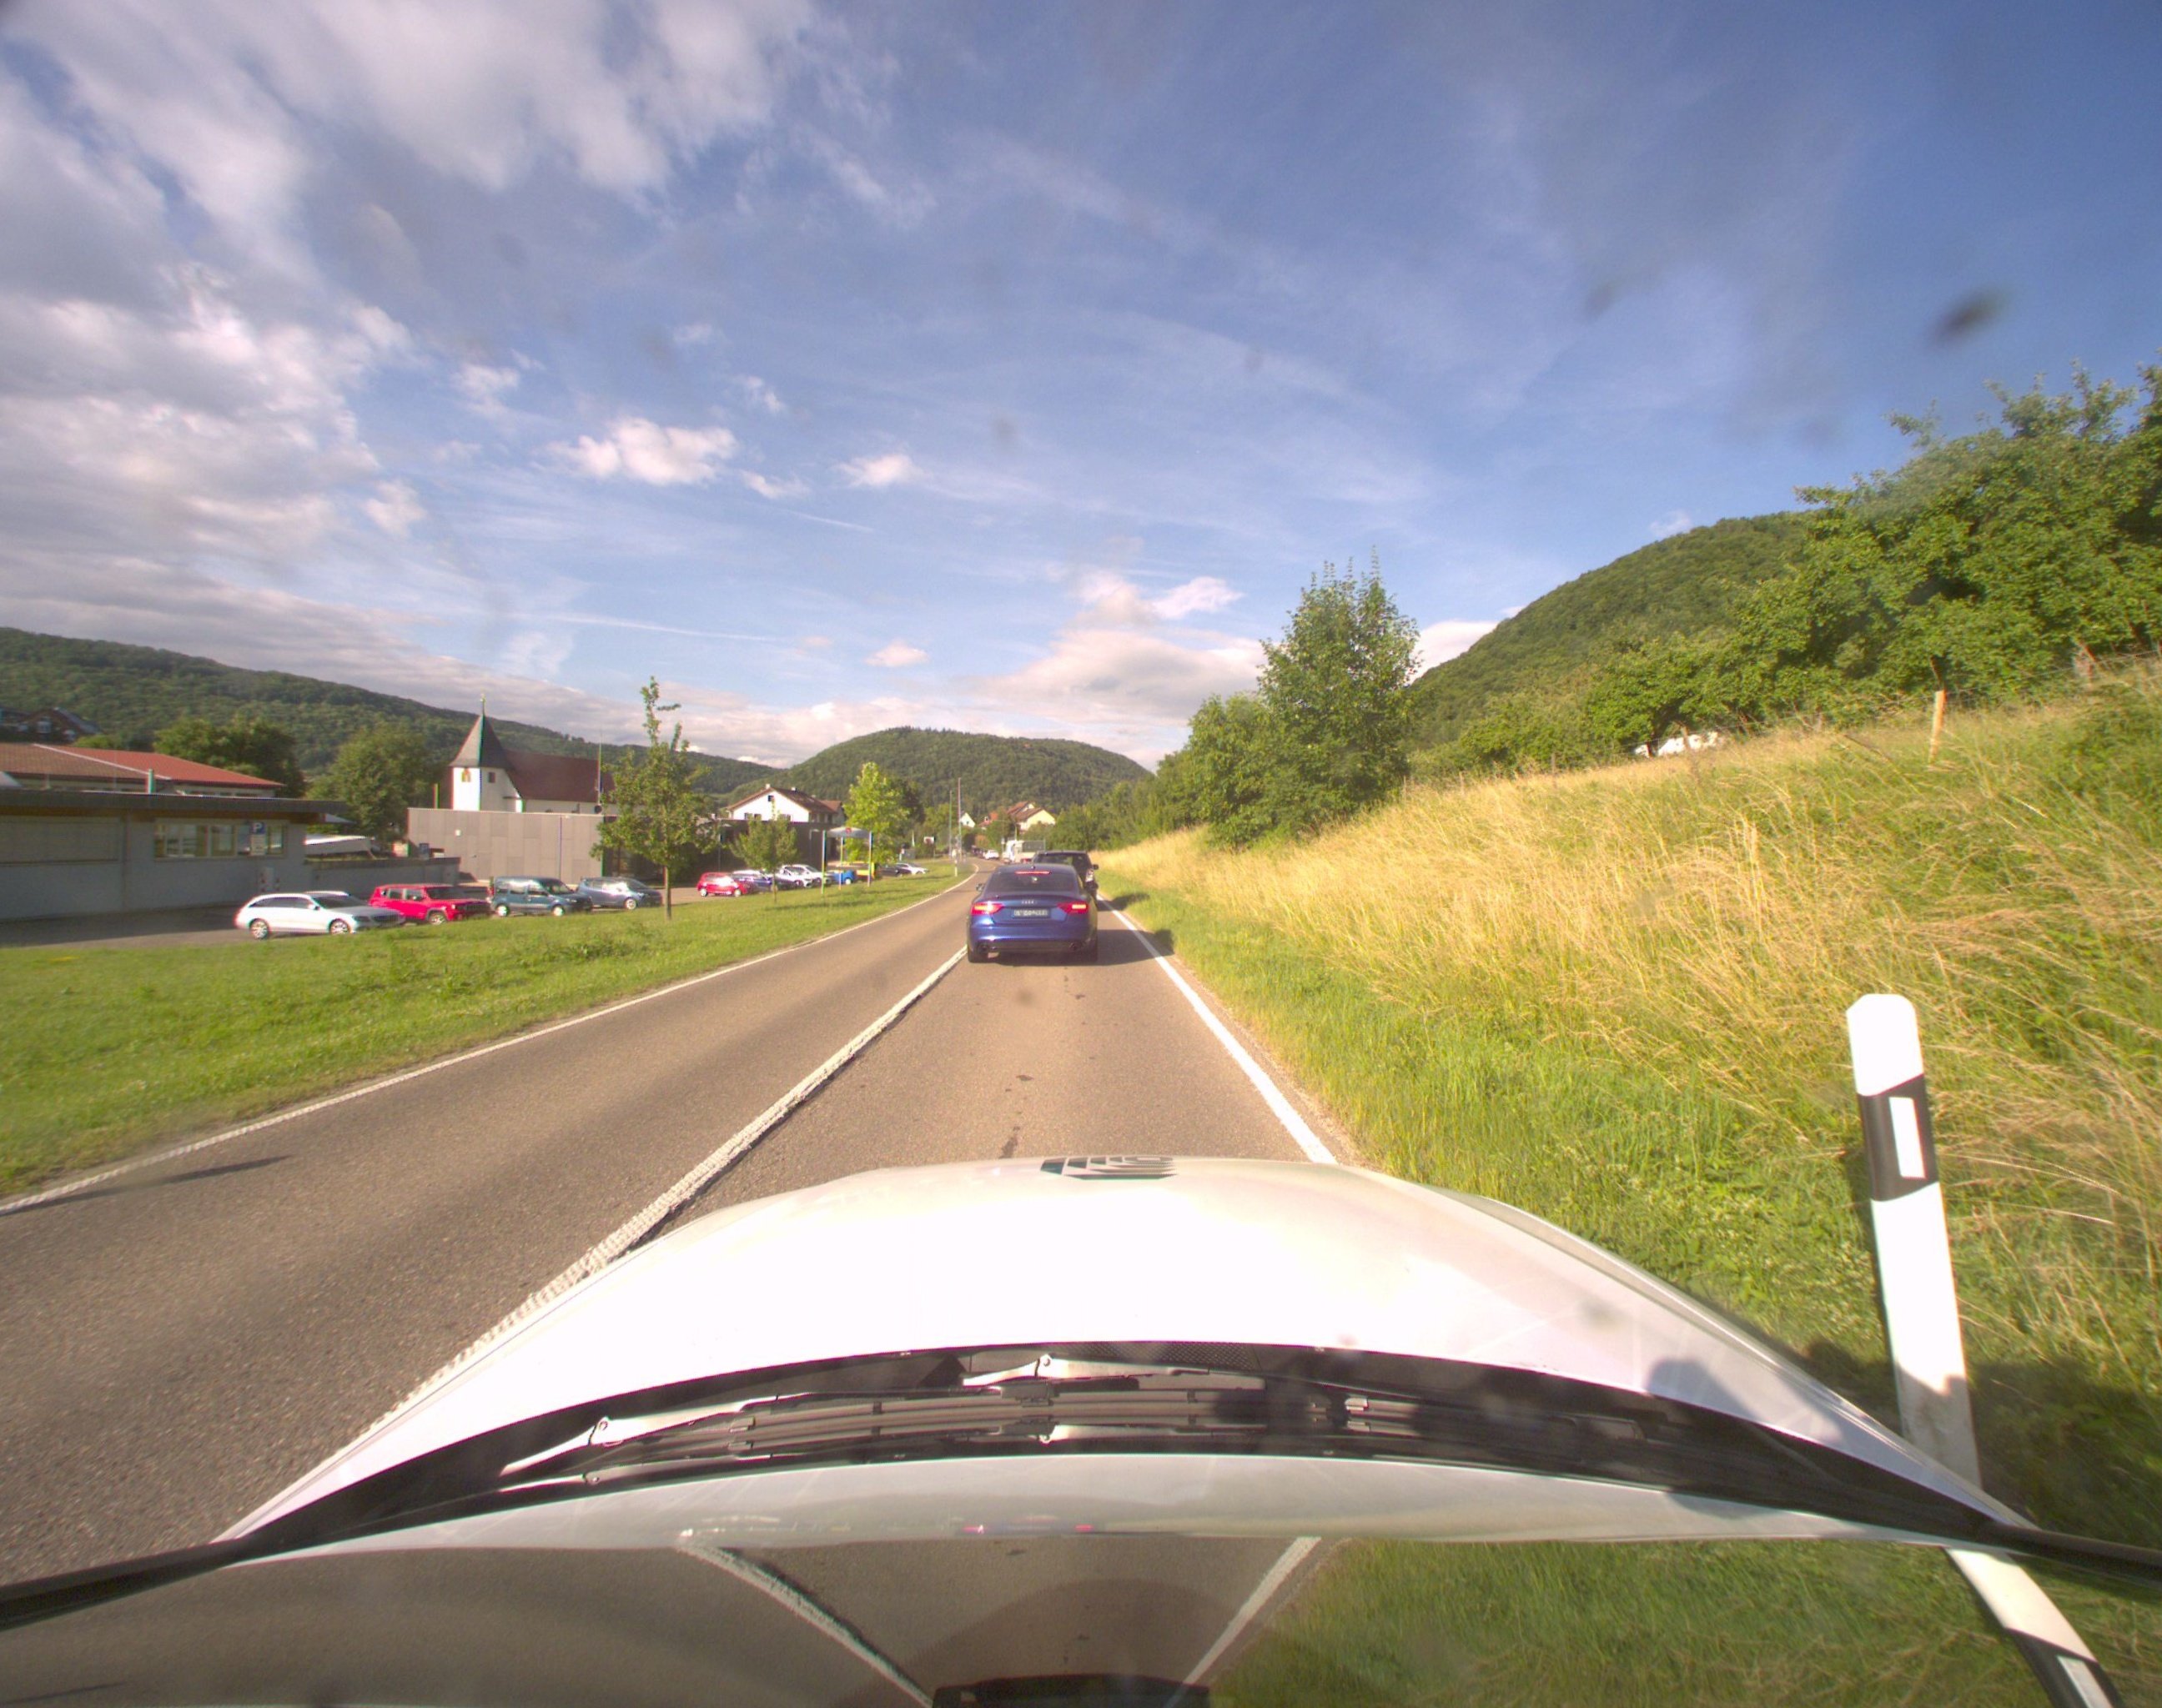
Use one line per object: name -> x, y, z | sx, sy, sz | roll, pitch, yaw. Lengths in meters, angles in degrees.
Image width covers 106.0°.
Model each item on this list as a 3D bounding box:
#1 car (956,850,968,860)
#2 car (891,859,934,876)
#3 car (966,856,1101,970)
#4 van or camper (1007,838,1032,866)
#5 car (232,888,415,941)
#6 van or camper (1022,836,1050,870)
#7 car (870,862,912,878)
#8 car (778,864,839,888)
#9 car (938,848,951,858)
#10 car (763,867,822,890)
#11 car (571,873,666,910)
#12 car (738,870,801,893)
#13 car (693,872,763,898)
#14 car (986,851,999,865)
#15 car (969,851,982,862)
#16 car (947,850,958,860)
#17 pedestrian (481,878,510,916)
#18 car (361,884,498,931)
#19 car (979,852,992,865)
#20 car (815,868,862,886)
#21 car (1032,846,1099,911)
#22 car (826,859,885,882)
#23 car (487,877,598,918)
car -> -23.636, 0.229, 161.601 | 1.681, 1.924, 3.975 | -1, 0, -18
car -> -17.679, 1.457, 85.473 | 4.013, 1.660, 1.659 | -1, 0, 7
car -> -0.654, 0.762, 12.272 | 1.738, 1.450, 3.514 | 0, 0, -2
van or camper -> -6.434, -0.168, 84.645 | 2.279, 2.714, 5.752 | -2, 0, -7
car -> -25.778, 2.040, 27.798 | 4.616, 1.589, 2.004 | -1, 0, 6
van or camper -> -3.606, -0.081, 64.625 | 2.048, 2.505, 5.802 | -2, 0, -4
car -> -18.899, 1.597, 81.010 | 3.692, 1.439, 1.512 | -1, 0, 7
car -> -20.872, 1.654, 62.399 | 4.054, 1.673, 1.600 | -1, 1, 7
car -> -29.772, -0.190, 178.045 | 1.963, 1.924, 3.971 | -1, 0, -22
car -> -20.978, 1.792, 59.191 | 3.646, 1.493, 1.600 | -1, 2, 7
car -> -23.157, 1.882, 40.848 | 3.798, 1.722, 1.735 | -1, 0, 6
car -> -21.355, 1.862, 55.882 | 3.604, 1.405, 1.600 | -1, 0, 7
car -> -22.050, 1.939, 50.887 | 3.604, 1.444, 1.652 | -1, 0, 7
car -> -12.787, 0.564, 117.811 | 1.659, 1.924, 3.986 | -2, 0, -10
car -> -18.927, 0.516, 145.734 | 1.680, 1.924, 3.978 | -1, 0, -16
car -> -26.774, 0.270, 170.037 | 1.681, 1.924, 3.977 | -1, 0, -17
pedestrian -> -26.703, 1.937, 37.130 | 0.792, 1.693, 0.704 | 0, -1, -3
car -> -24.510, 1.997, 30.706 | 3.899, 1.579, 1.759 | -1, 0, 6
car -> -14.830, 0.757, 126.748 | 1.660, 1.924, 3.984 | -2, 0, -11
car -> -20.382, 1.895, 68.469 | 3.358, 1.373, 1.660 | -1, 0, 0
car -> -0.495, 0.620, 22.287 | 1.643, 1.625, 3.511 | 1, 0, -4
car -> -19.635, 1.424, 71.077 | 4.528, 1.815, 1.845 | -1, 0, 7
car -> -23.918, 1.904, 36.238 | 3.843, 1.722, 1.758 | 0, 0, 4
